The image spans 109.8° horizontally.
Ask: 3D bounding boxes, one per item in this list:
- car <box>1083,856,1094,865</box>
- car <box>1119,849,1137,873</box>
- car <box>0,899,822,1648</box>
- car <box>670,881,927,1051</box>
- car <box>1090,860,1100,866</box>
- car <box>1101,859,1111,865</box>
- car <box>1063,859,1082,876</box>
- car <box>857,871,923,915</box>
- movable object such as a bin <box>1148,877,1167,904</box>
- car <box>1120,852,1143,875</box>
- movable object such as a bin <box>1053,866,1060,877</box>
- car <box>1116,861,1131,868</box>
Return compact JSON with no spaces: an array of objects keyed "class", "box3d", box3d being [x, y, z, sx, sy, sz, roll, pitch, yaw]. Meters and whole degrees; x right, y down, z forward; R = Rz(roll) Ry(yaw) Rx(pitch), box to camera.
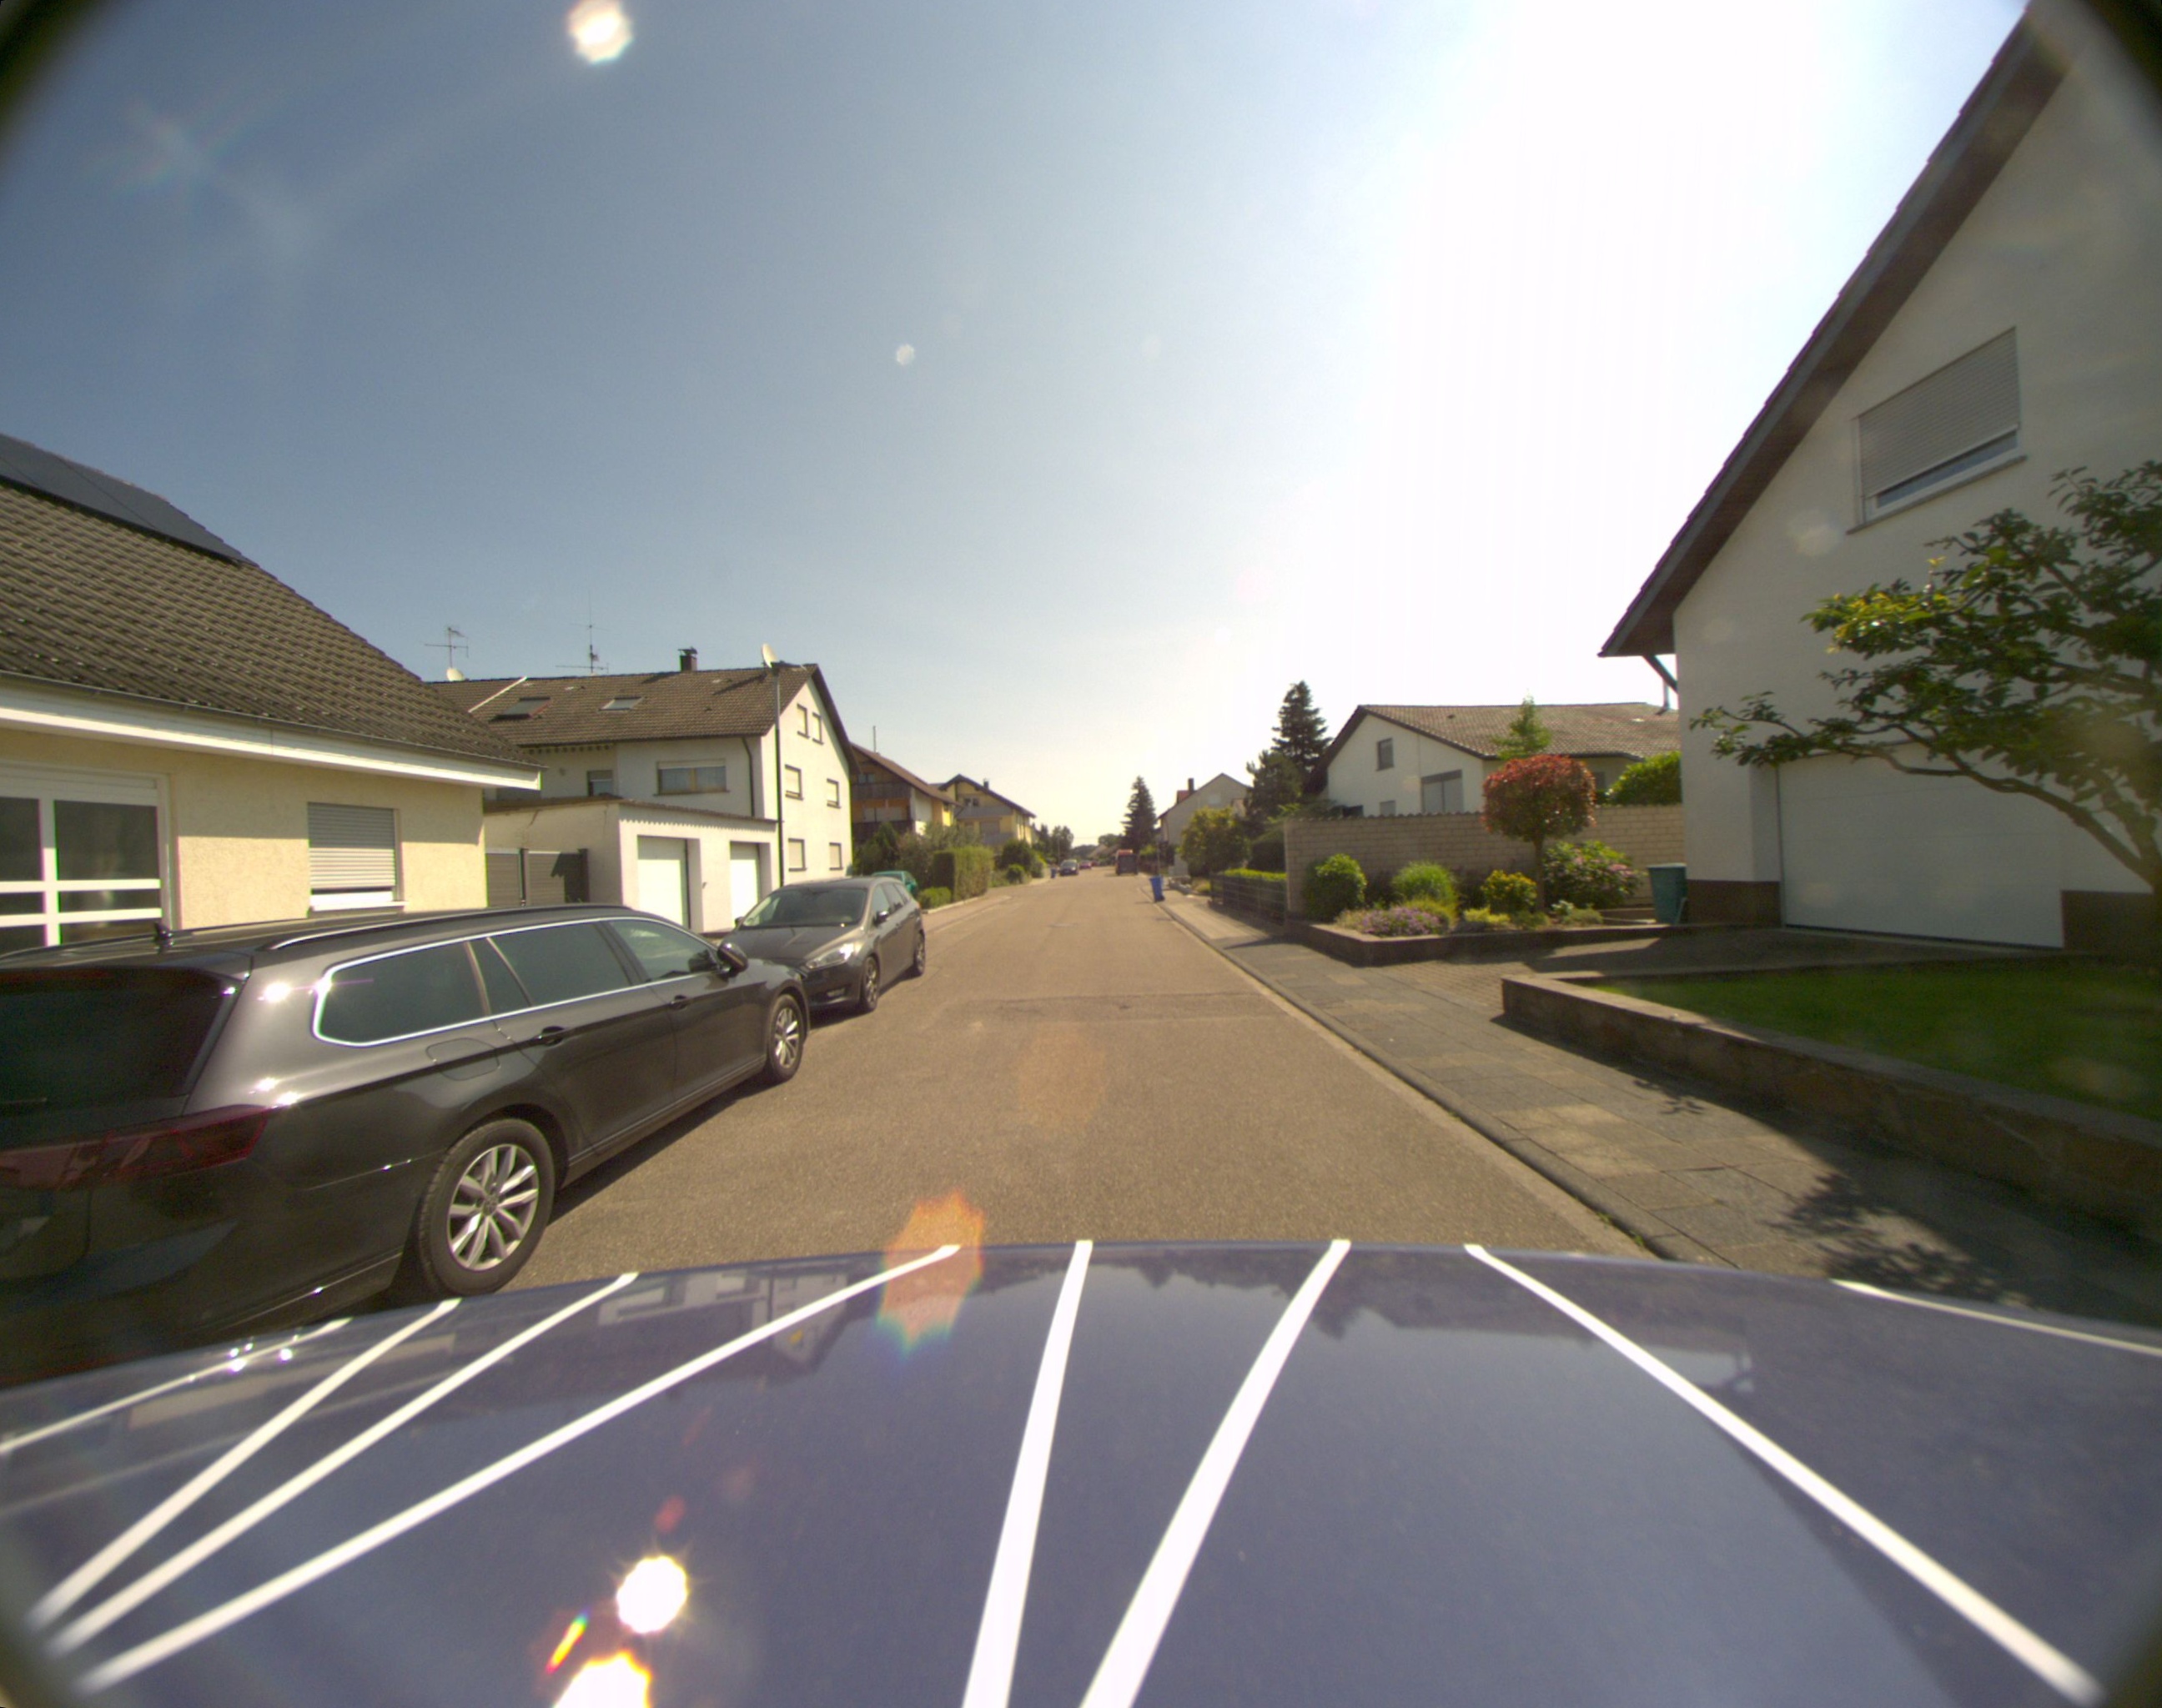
[{"class":"car","box3d":[1.193,1.042,122.276,1.517,1.397,3.677,-3,-1,-1]},{"class":"car","box3d":[4.889,0.709,79.390,1.555,2.310,4.205,-3,0,1]},{"class":"car","box3d":[-3.100,1.142,3.984,1.721,1.430,4.503,-5,0,2]},{"class":"car","box3d":[-3.163,1.157,9.420,1.646,1.470,4.000,-4,-1,-1]},{"class":"car","box3d":[3.423,2.204,186.345,1.710,1.332,3.999,-3,-2,-6]},{"class":"car","box3d":[5.747,1.827,173.899,1.710,1.332,3.999,-3,-2,-6]},{"class":"car","box3d":[-0.867,1.374,79.688,1.632,1.616,4.001,-3,-1,3]},{"class":"car","box3d":[-6.825,1.355,27.502,1.498,1.351,3.526,-2,0,-1]},{"class":"movable object such as a bin","box3d":[2.700,1.295,26.959,0.584,0.911,0.598,-3,0,1]},{"class":"car","box3d":[4.614,0.858,70.206,1.870,1.927,4.205,-3,0,1]},{"class":"movable object such as a bin","box3d":[-2.293,1.628,70.664,0.584,0.911,0.598,-3,0,1]},{"class":"car","box3d":[10.151,2.419,182.771,3.413,1.521,1.637,-3,0,-5]}]
